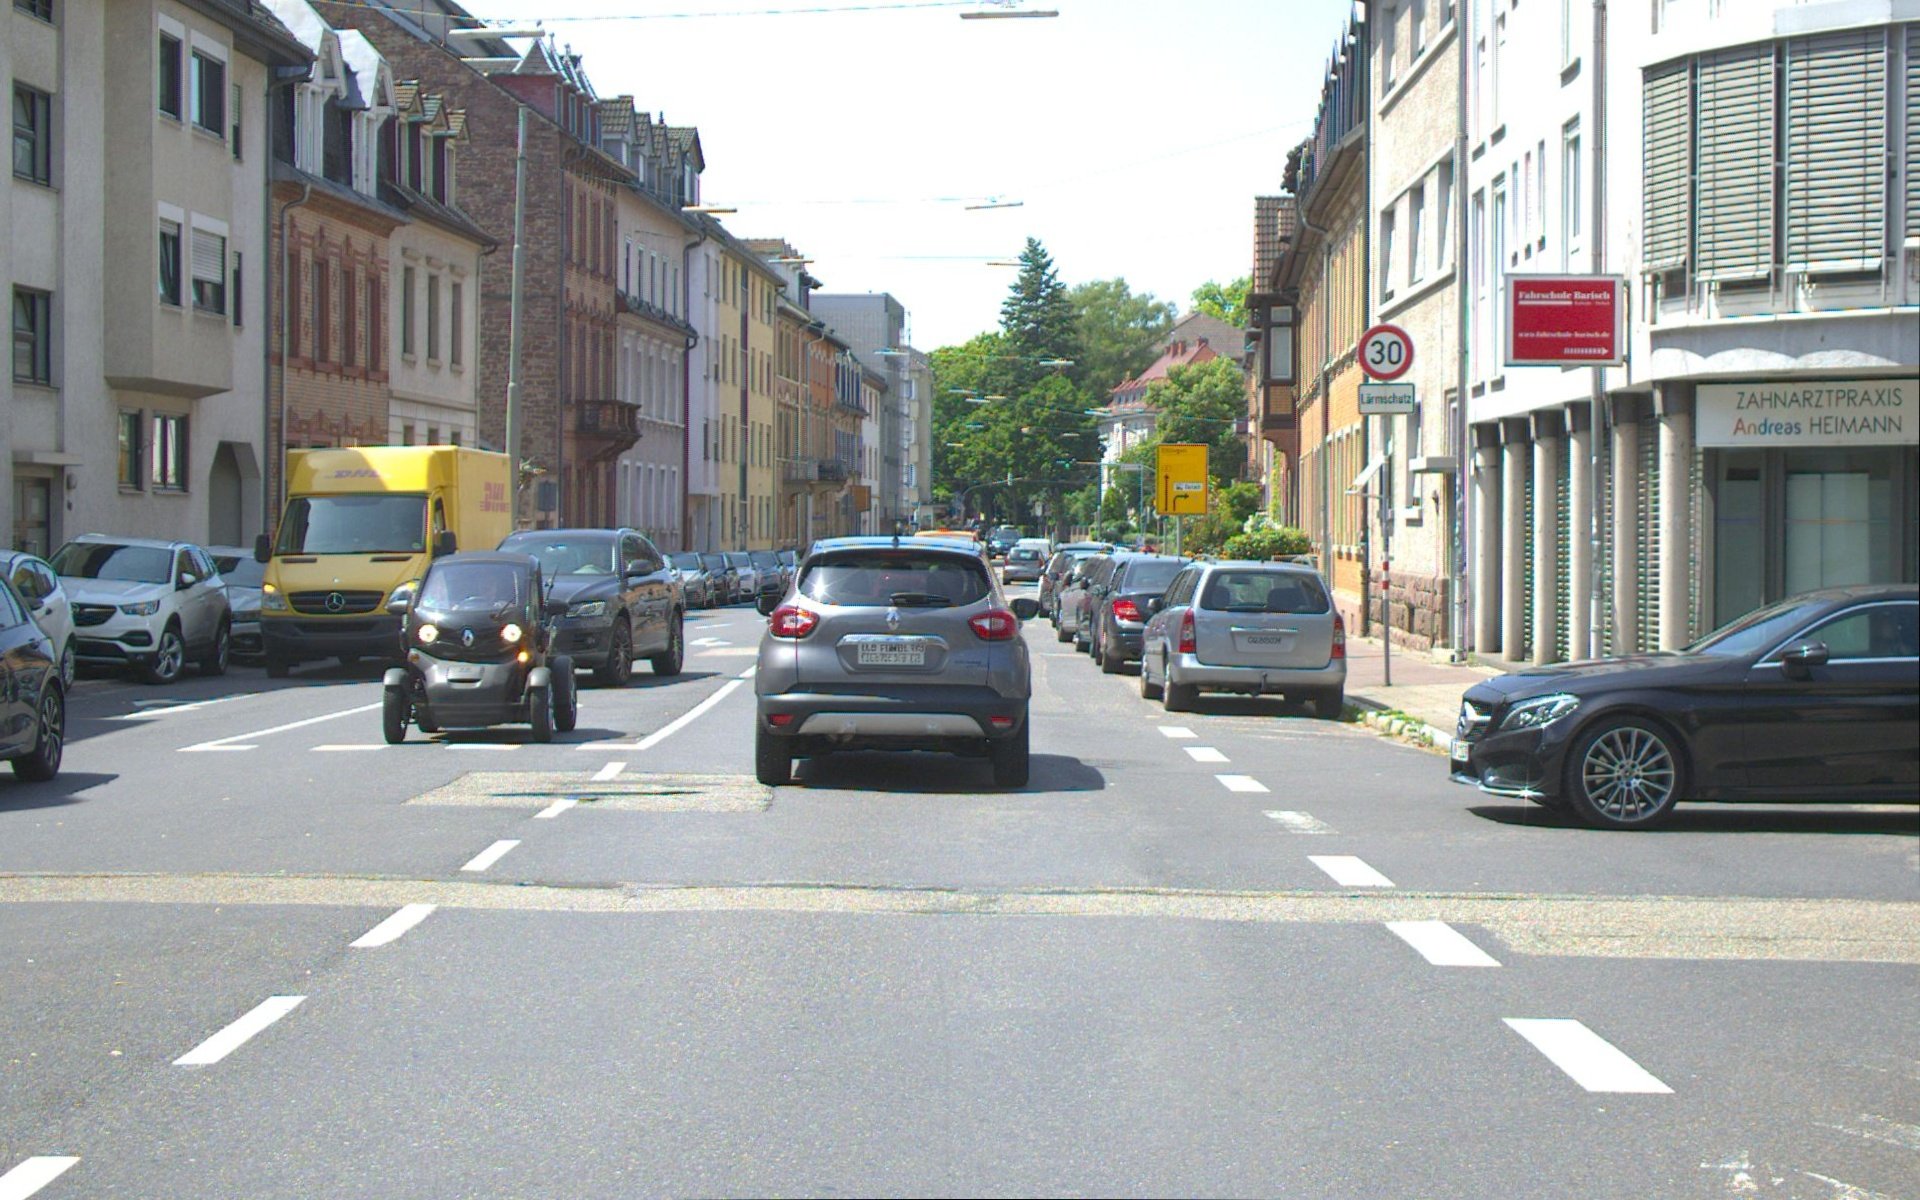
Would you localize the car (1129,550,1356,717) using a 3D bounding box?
[{"bbox_3d":[2.688,0.277,33.505,1.677,1.449,4.143,2,1,-2],"label":"car"}]

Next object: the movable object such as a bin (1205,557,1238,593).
[{"bbox_3d":[6.644,-0.628,87.282,0.788,0.904,0.539,0,1,0],"label":"movable object such as a bin"}]

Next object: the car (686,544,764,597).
[{"bbox_3d":[-6.637,-0.834,97.536,1.840,1.418,4.502,-2,0,0],"label":"car"}]

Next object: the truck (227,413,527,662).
[{"bbox_3d":[-7.031,-0.762,42.453,2.225,2.762,7.564,-1,1,1],"label":"truck"}]

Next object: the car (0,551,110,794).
[{"bbox_3d":[-6.464,0.426,20.330,1.742,1.414,4.223,0,1,1],"label":"car"}]

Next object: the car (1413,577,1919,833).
[{"bbox_3d":[5.125,0.602,20.189,4.580,1.360,2.000,1,1,-2],"label":"car"}]

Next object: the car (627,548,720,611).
[{"bbox_3d":[-7.164,-0.525,86.425,1.840,1.417,4.502,-4,0,1],"label":"car"}]

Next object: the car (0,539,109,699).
[{"bbox_3d":[-9.954,0.130,34.238,1.839,1.484,4.387,3,1,-1],"label":"car"}]

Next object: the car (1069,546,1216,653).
[{"bbox_3d":[2.521,-0.043,48.289,1.651,1.415,4.049,1,1,-2],"label":"car"}]

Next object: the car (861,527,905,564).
[{"bbox_3d":[-3.439,-2.430,154.280,1.904,1.614,4.303,-1,1,-1],"label":"car"}]

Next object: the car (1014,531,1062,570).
[{"bbox_3d":[3.220,-2.015,140.671,1.763,1.554,3.942,1,1,4],"label":"car"}]

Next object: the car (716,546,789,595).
[{"bbox_3d":[-6.215,-0.886,103.457,1.840,1.418,4.646,-2,0,0],"label":"car"}]

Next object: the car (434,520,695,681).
[{"bbox_3d":[-4.192,-0.019,37.118,1.812,1.615,4.440,-1,1,7],"label":"car"}]

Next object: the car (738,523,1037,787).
[{"bbox_3d":[-0.573,0.302,23.113,1.743,1.611,4.001,1,1,-5],"label":"car"}]

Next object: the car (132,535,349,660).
[{"bbox_3d":[-9.446,-0.054,45.450,1.840,1.483,4.386,3,1,1],"label":"car"}]

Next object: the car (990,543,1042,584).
[{"bbox_3d":[2.156,-1.415,132.037,1.763,1.554,3.942,1,1,4],"label":"car"}]

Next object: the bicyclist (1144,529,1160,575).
[{"bbox_3d":[6.163,-1.537,110.359,0.532,1.464,0.791,0,1,3],"label":"bicyclist"}]

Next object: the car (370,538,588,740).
[{"bbox_3d":[-3.630,0.259,26.255,1.496,1.454,2.723,0,1,-5],"label":"car"}]

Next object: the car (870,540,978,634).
[{"bbox_3d":[-0.615,-0.261,62.107,1.812,1.615,4.441,-1,1,1],"label":"car"}]

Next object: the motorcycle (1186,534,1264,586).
[{"bbox_3d":[7.445,-1.134,96.731,2.129,1.403,0.937,-1,1,2],"label":"motorcycle"}]

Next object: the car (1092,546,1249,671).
[{"bbox_3d":[2.558,0.065,42.686,1.711,1.468,4.438,0,1,1],"label":"car"}]

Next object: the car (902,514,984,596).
[{"bbox_3d":[-0.406,-1.149,87.097,1.993,2.007,4.466,0,1,1],"label":"car"}]

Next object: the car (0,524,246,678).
[{"bbox_3d":[-9.626,-0.016,39.633,1.839,1.590,4.387,3,1,-1],"label":"car"}]

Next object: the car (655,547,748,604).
[{"bbox_3d":[-6.917,-0.668,92.288,1.840,1.417,4.502,-3,0,3],"label":"car"}]

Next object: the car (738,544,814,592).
[{"bbox_3d":[-5.832,-1.022,109.227,1.840,1.418,4.557,-2,0,4],"label":"car"}]
